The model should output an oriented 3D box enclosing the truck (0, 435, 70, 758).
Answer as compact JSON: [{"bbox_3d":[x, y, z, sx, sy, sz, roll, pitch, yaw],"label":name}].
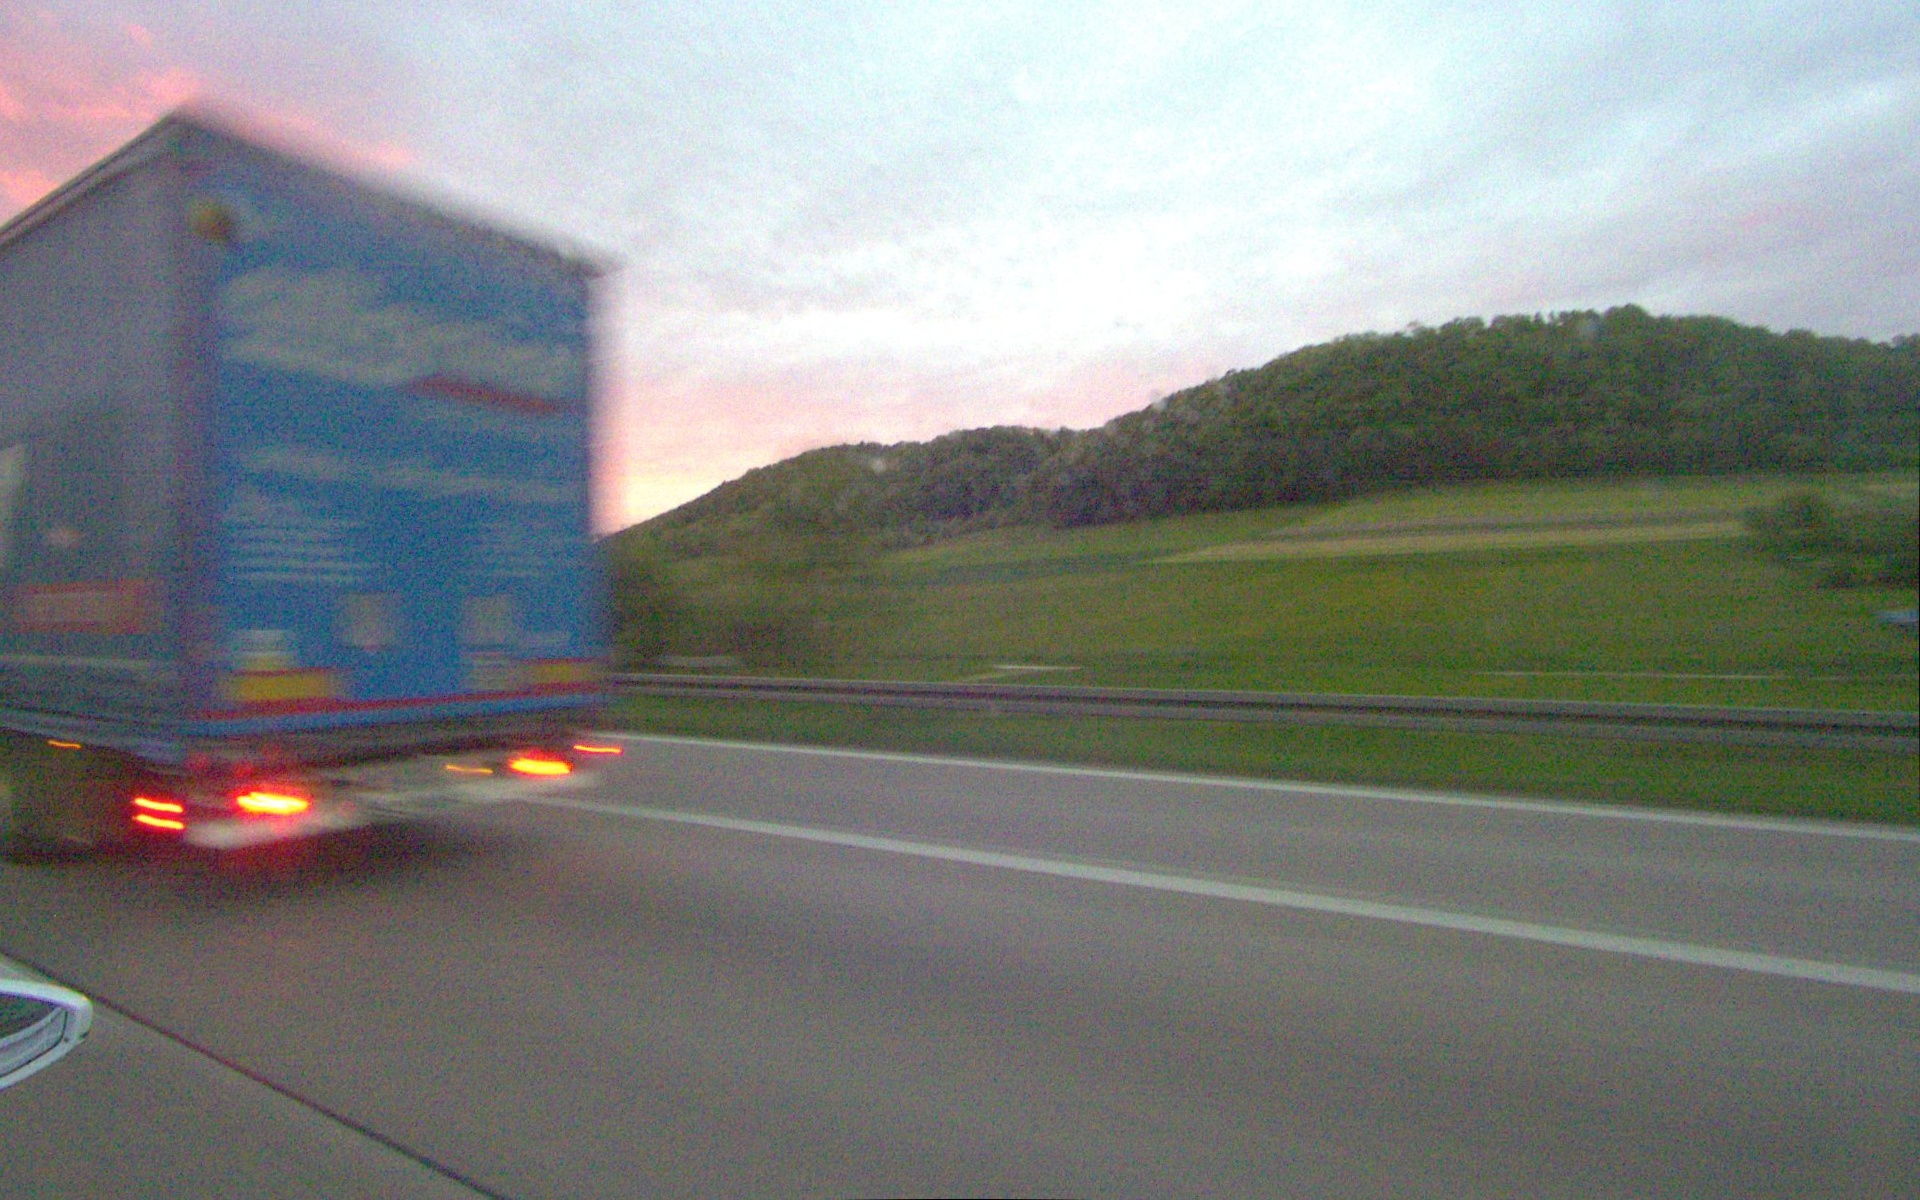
[{"bbox_3d":[-14.813,0.005,13.495,5.766,4.048,2.731,-1,-1,32],"label":"truck"}]

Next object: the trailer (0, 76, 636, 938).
[{"bbox_3d":[-8.753,-0.270,9.636,13.545,4.139,2.766,-2,-1,33],"label":"trailer"}]
